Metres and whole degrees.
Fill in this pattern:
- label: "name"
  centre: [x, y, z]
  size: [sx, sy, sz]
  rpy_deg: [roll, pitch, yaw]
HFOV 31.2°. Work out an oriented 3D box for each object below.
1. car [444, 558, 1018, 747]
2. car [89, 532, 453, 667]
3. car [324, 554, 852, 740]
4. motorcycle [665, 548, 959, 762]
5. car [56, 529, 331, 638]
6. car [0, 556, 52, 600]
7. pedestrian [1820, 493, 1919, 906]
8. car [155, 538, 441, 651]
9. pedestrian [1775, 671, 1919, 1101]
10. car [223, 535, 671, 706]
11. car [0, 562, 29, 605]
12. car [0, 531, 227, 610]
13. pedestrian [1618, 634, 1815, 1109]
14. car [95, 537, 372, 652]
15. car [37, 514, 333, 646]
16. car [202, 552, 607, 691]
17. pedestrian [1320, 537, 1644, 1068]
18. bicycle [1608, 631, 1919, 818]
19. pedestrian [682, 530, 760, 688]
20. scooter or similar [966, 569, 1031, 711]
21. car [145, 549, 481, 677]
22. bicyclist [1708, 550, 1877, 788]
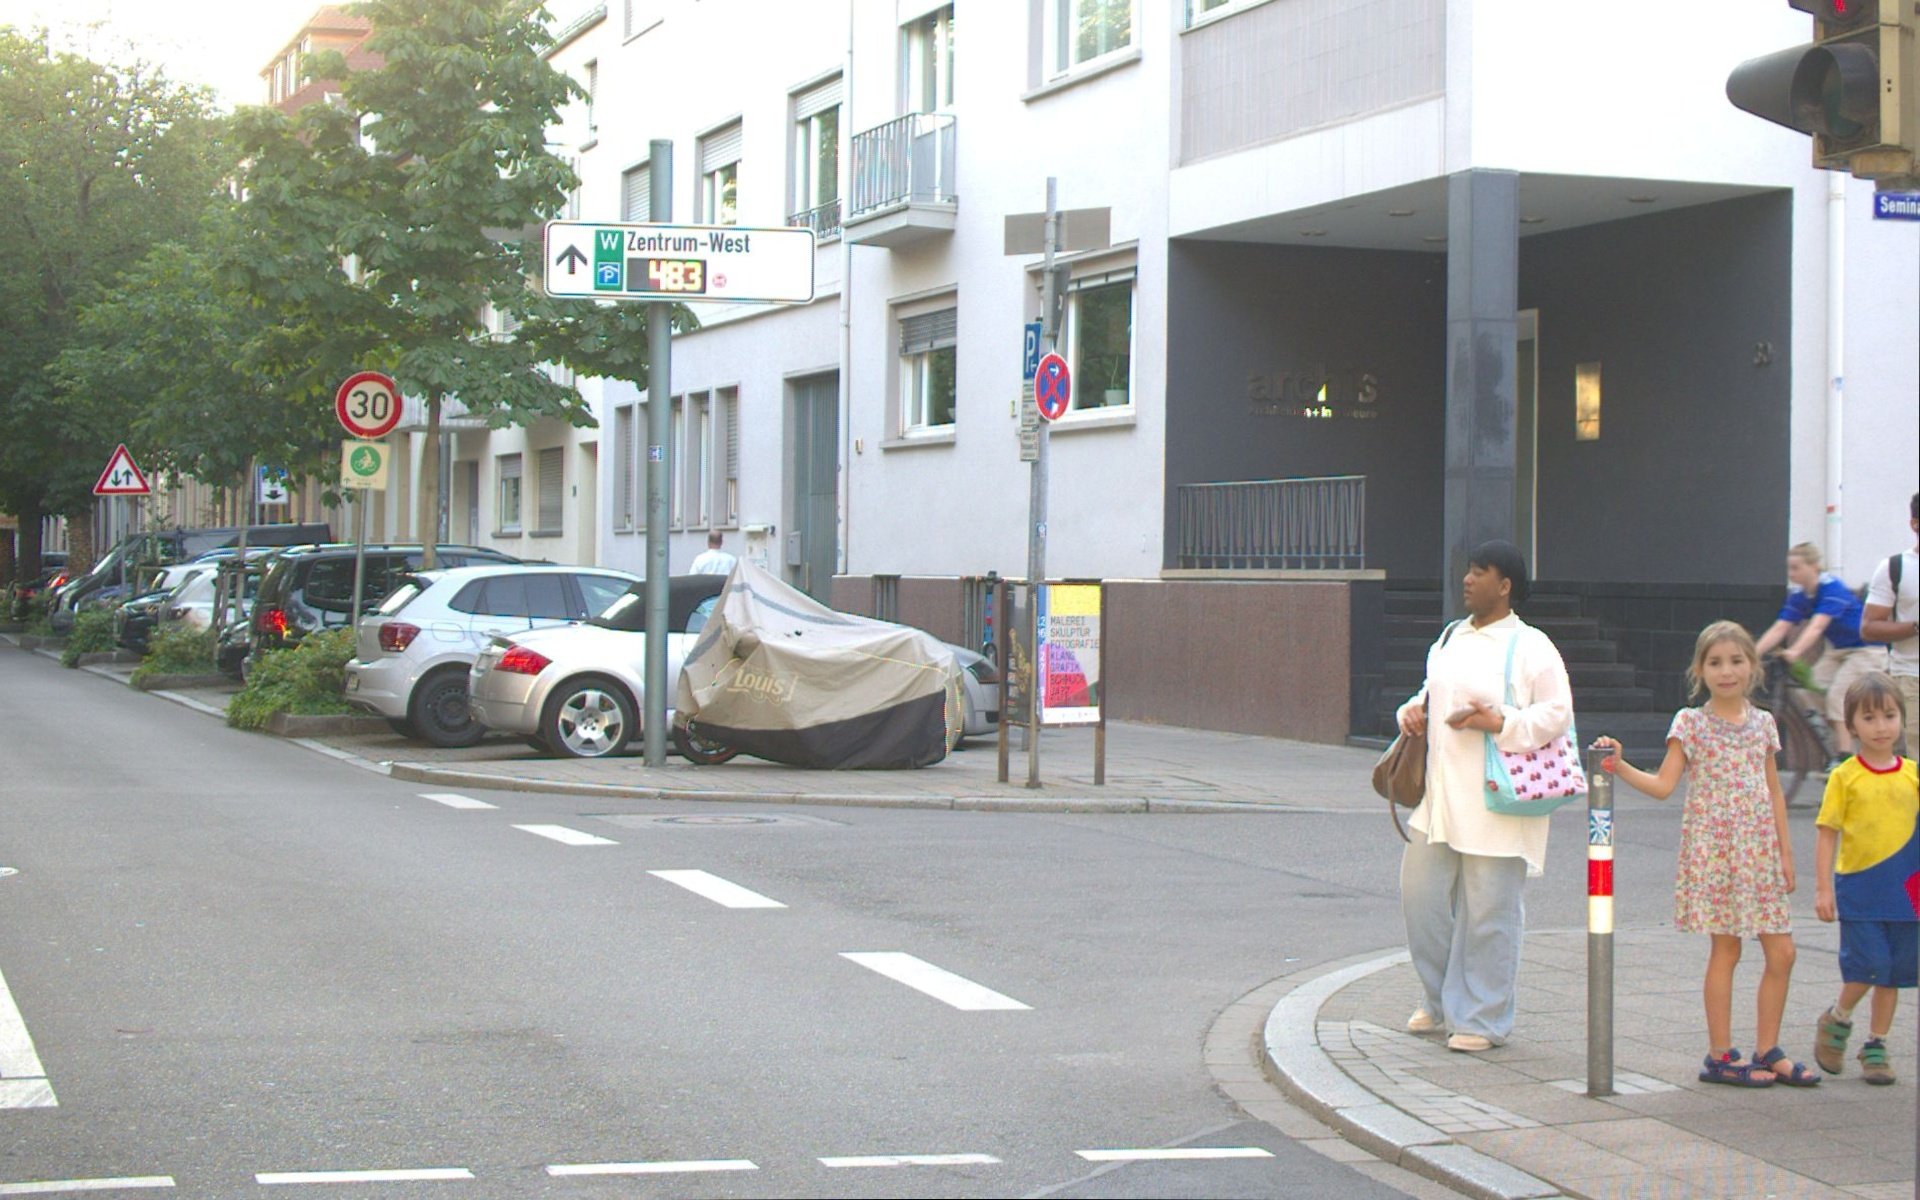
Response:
- label: "car"
  centre: [-1.737, 0.374, 25.656]
  size: [3.986, 1.328, 1.795]
  rpy_deg: [0, 1, -15]
- label: "car"
  centre: [-9.438, -0.031, 47.070]
  size: [4.589, 1.573, 1.945]
  rpy_deg: [-3, 1, -19]
- label: "car"
  centre: [-3.048, 0.362, 27.980]
  size: [3.986, 1.433, 1.795]
  rpy_deg: [0, 1, -18]
- label: "motorcycle"
  centre: [-1.000, 0.354, 22.887]
  size: [1.907, 1.387, 1.000]
  rpy_deg: [0, 0, -5]
- label: "car"
  centre: [-12.688, -0.280, 56.901]
  size: [4.154, 1.573, 1.970]
  rpy_deg: [-3, 1, -20]
- label: "car"
  centre: [-32.468, -0.750, 115.777]
  size: [3.482, 1.447, 1.900]
  rpy_deg: [-1, 1, -20]
- label: "pedestrian"
  centre: [4.537, 0.433, 15.847]
  size: [0.697, 1.848, 1.050]
  rpy_deg: [-1, 1, -14]
- label: "car"
  centre: [-9.578, -0.091, 49.690]
  size: [3.792, 1.418, 1.698]
  rpy_deg: [-3, 1, -19]
- label: "pedestrian"
  centre: [2.558, 0.781, 9.551]
  size: [0.544, 1.141, 0.493]
  rpy_deg: [-1, 1, 12]
- label: "car"
  centre: [-5.101, 0.196, 34.038]
  size: [4.108, 1.612, 1.961]
  rpy_deg: [0, 1, -18]
- label: "car"
  centre: [-40.734, -0.714, 141.222]
  size: [4.716, 1.704, 1.950]
  rpy_deg: [1, 1, -17]
- label: "car"
  centre: [-17.519, -0.620, 70.911]
  size: [4.399, 1.389, 1.886]
  rpy_deg: [-3, 1, -20]
- label: "pedestrian"
  centre: [2.075, 0.735, 9.463]
  size: [0.488, 1.257, 0.451]
  rpy_deg: [-1, 1, 10]
- label: "car"
  centre: [-11.405, -0.109, 53.934]
  size: [3.964, 1.573, 1.852]
  rpy_deg: [-3, 1, -19]
- label: "car"
  centre: [-13.360, -0.362, 59.231]
  size: [4.688, 2.004, 2.038]
  rpy_deg: [-3, 1, -19]
- label: "car"
  centre: [-6.367, 0.221, 39.354]
  size: [4.314, 1.491, 1.795]
  rpy_deg: [-1, 1, -19]
- label: "pedestrian"
  centre: [1.561, 0.576, 10.281]
  size: [0.720, 1.506, 0.598]
  rpy_deg: [0, 2, 43]
- label: "bicycle"
  centre: [4.920, 0.739, 20.422]
  size: [1.970, 1.026, 0.674]
  rpy_deg: [2, -1, -2]
- label: "pedestrian"
  centre: [-2.745, 0.097, 39.458]
  size: [0.697, 1.789, 0.881]
  rpy_deg: [0, 1, -18]
- label: "scooter or similar"
  centre: [0.336, 0.341, 30.841]
  size: [0.345, 1.235, 1.421]
  rpy_deg: [1, 1, -9]
- label: "car"
  centre: [-8.429, 0.144, 44.729]
  size: [4.073, 1.424, 1.819]
  rpy_deg: [-3, 1, -16]
- label: "bicyclist"
  centre: [4.940, 0.410, 20.422]
  size: [0.774, 1.359, 0.674]
  rpy_deg: [2, -1, -2]
